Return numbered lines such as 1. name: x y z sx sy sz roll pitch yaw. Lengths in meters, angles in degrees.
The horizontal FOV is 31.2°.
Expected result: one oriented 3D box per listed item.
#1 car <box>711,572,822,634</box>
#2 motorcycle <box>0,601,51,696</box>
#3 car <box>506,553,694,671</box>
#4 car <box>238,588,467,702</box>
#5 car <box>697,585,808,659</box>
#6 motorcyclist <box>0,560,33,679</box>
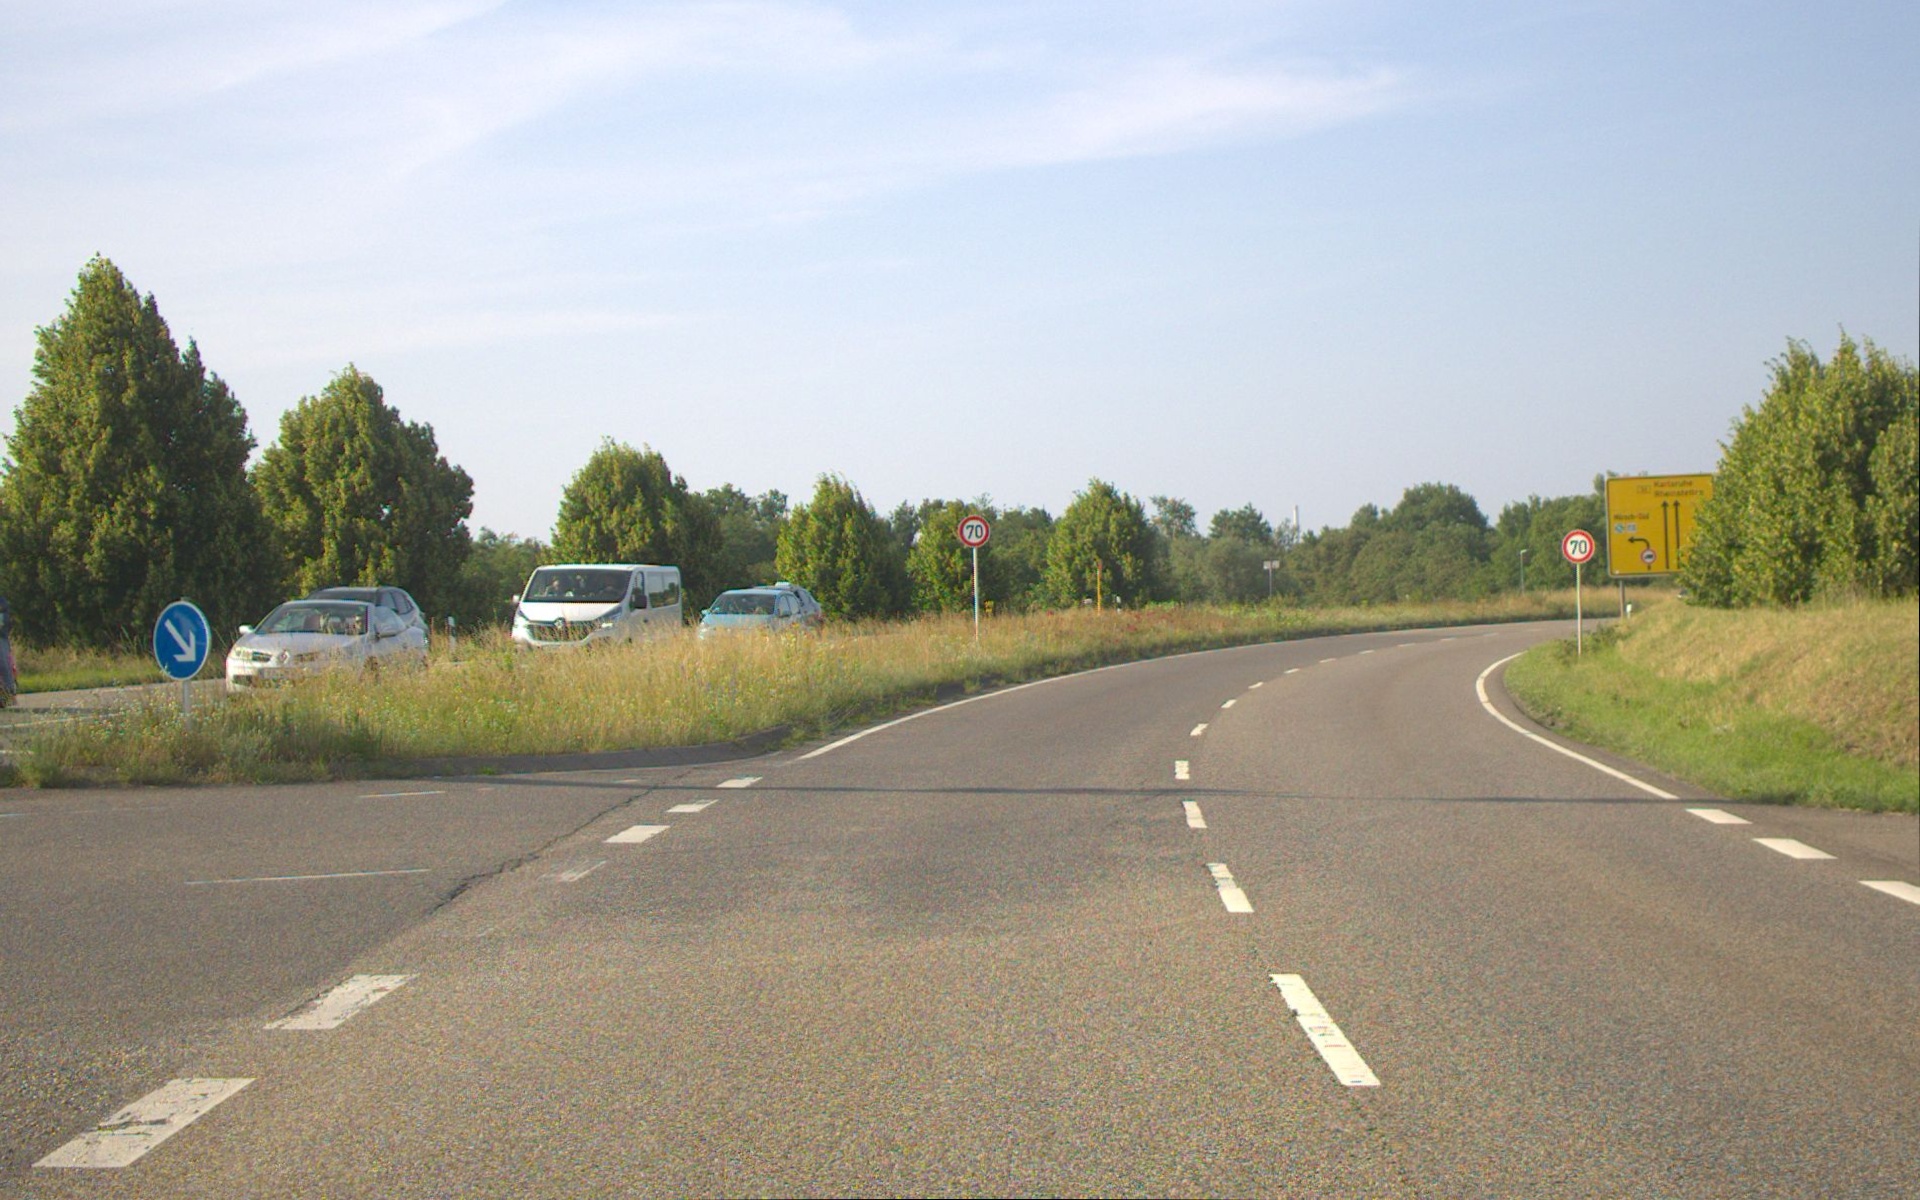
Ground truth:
1. car: -4.948 0.056 88.511 1.913 1.560 4.609 0 0 9
2. motorcycle: -12.060 0.601 42.893 0.708 1.155 2.022 0 0 6
3. car: -6.025 0.183 58.265 1.994 1.897 5.787 0 0 6
4. car: -7.567 0.534 43.228 1.695 1.348 4.452 0 0 6
5. car: -4.176 0.425 69.645 1.679 1.438 3.751 0 0 6
6. motorcyclist: -12.076 0.234 42.793 0.704 1.460 1.020 0 0 6
